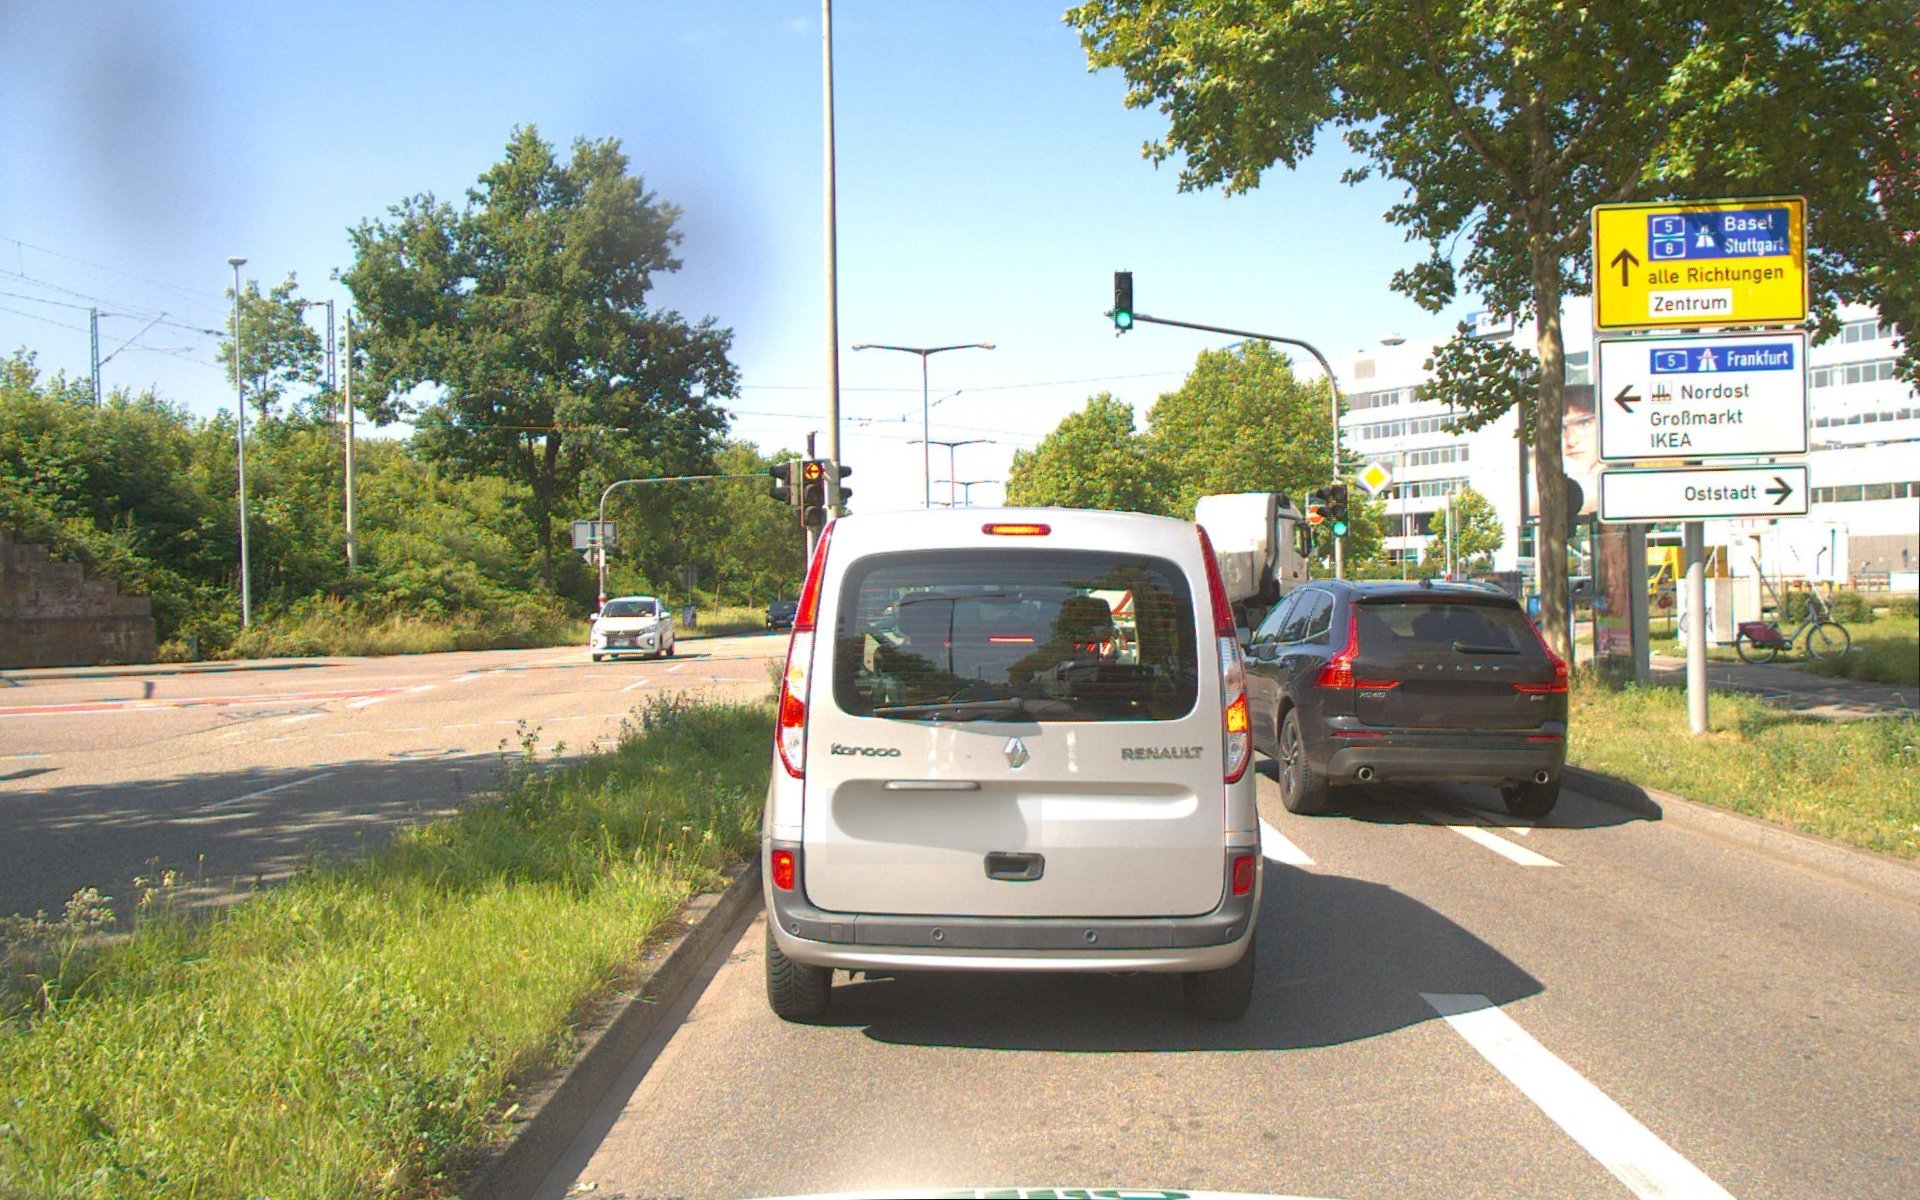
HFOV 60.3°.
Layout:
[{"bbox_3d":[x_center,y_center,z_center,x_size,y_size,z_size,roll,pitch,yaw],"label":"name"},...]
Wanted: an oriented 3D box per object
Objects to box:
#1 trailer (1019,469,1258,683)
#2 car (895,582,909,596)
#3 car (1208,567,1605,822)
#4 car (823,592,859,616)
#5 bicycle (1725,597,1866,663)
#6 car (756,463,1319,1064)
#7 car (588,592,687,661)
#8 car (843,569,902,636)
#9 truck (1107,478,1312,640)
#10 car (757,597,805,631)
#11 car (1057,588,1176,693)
[{"bbox_3d":[4.187,-0.382,34.904,2.839,3.686,12.693,1,0,16],"label":"trailer"},{"bbox_3d":[-8.801,-1.670,250.683,1.849,2.049,4.001,1,0,1],"label":"car"},{"bbox_3d":[3.227,0.620,12.926,1.837,1.619,4.432,1,0,-1],"label":"car"},{"bbox_3d":[-8.083,0.269,112.921,1.952,1.567,4.237,-1,0,2],"label":"car"},{"bbox_3d":[13.694,0.494,27.148,1.959,1.031,0.621,-1,0,16],"label":"bicycle"},{"bbox_3d":[0.220,0.526,7.224,1.750,1.870,3.999,1,0,-1],"label":"car"},{"bbox_3d":[-7.826,0.611,40.498,1.665,1.534,3.999,-1,1,-1],"label":"car"},{"bbox_3d":[-3.636,0.118,69.537,1.952,2.653,5.135,-1,0,2],"label":"car"},{"bbox_3d":[6.461,-0.917,41.748,2.855,3.707,7.178,1,0,28],"label":"truck"},{"bbox_3d":[-9.151,0.717,84.865,1.872,1.670,3.738,-1,0,2],"label":"car"},{"bbox_3d":[2.428,0.613,26.290,1.507,1.541,3.259,1,0,-1],"label":"car"}]
